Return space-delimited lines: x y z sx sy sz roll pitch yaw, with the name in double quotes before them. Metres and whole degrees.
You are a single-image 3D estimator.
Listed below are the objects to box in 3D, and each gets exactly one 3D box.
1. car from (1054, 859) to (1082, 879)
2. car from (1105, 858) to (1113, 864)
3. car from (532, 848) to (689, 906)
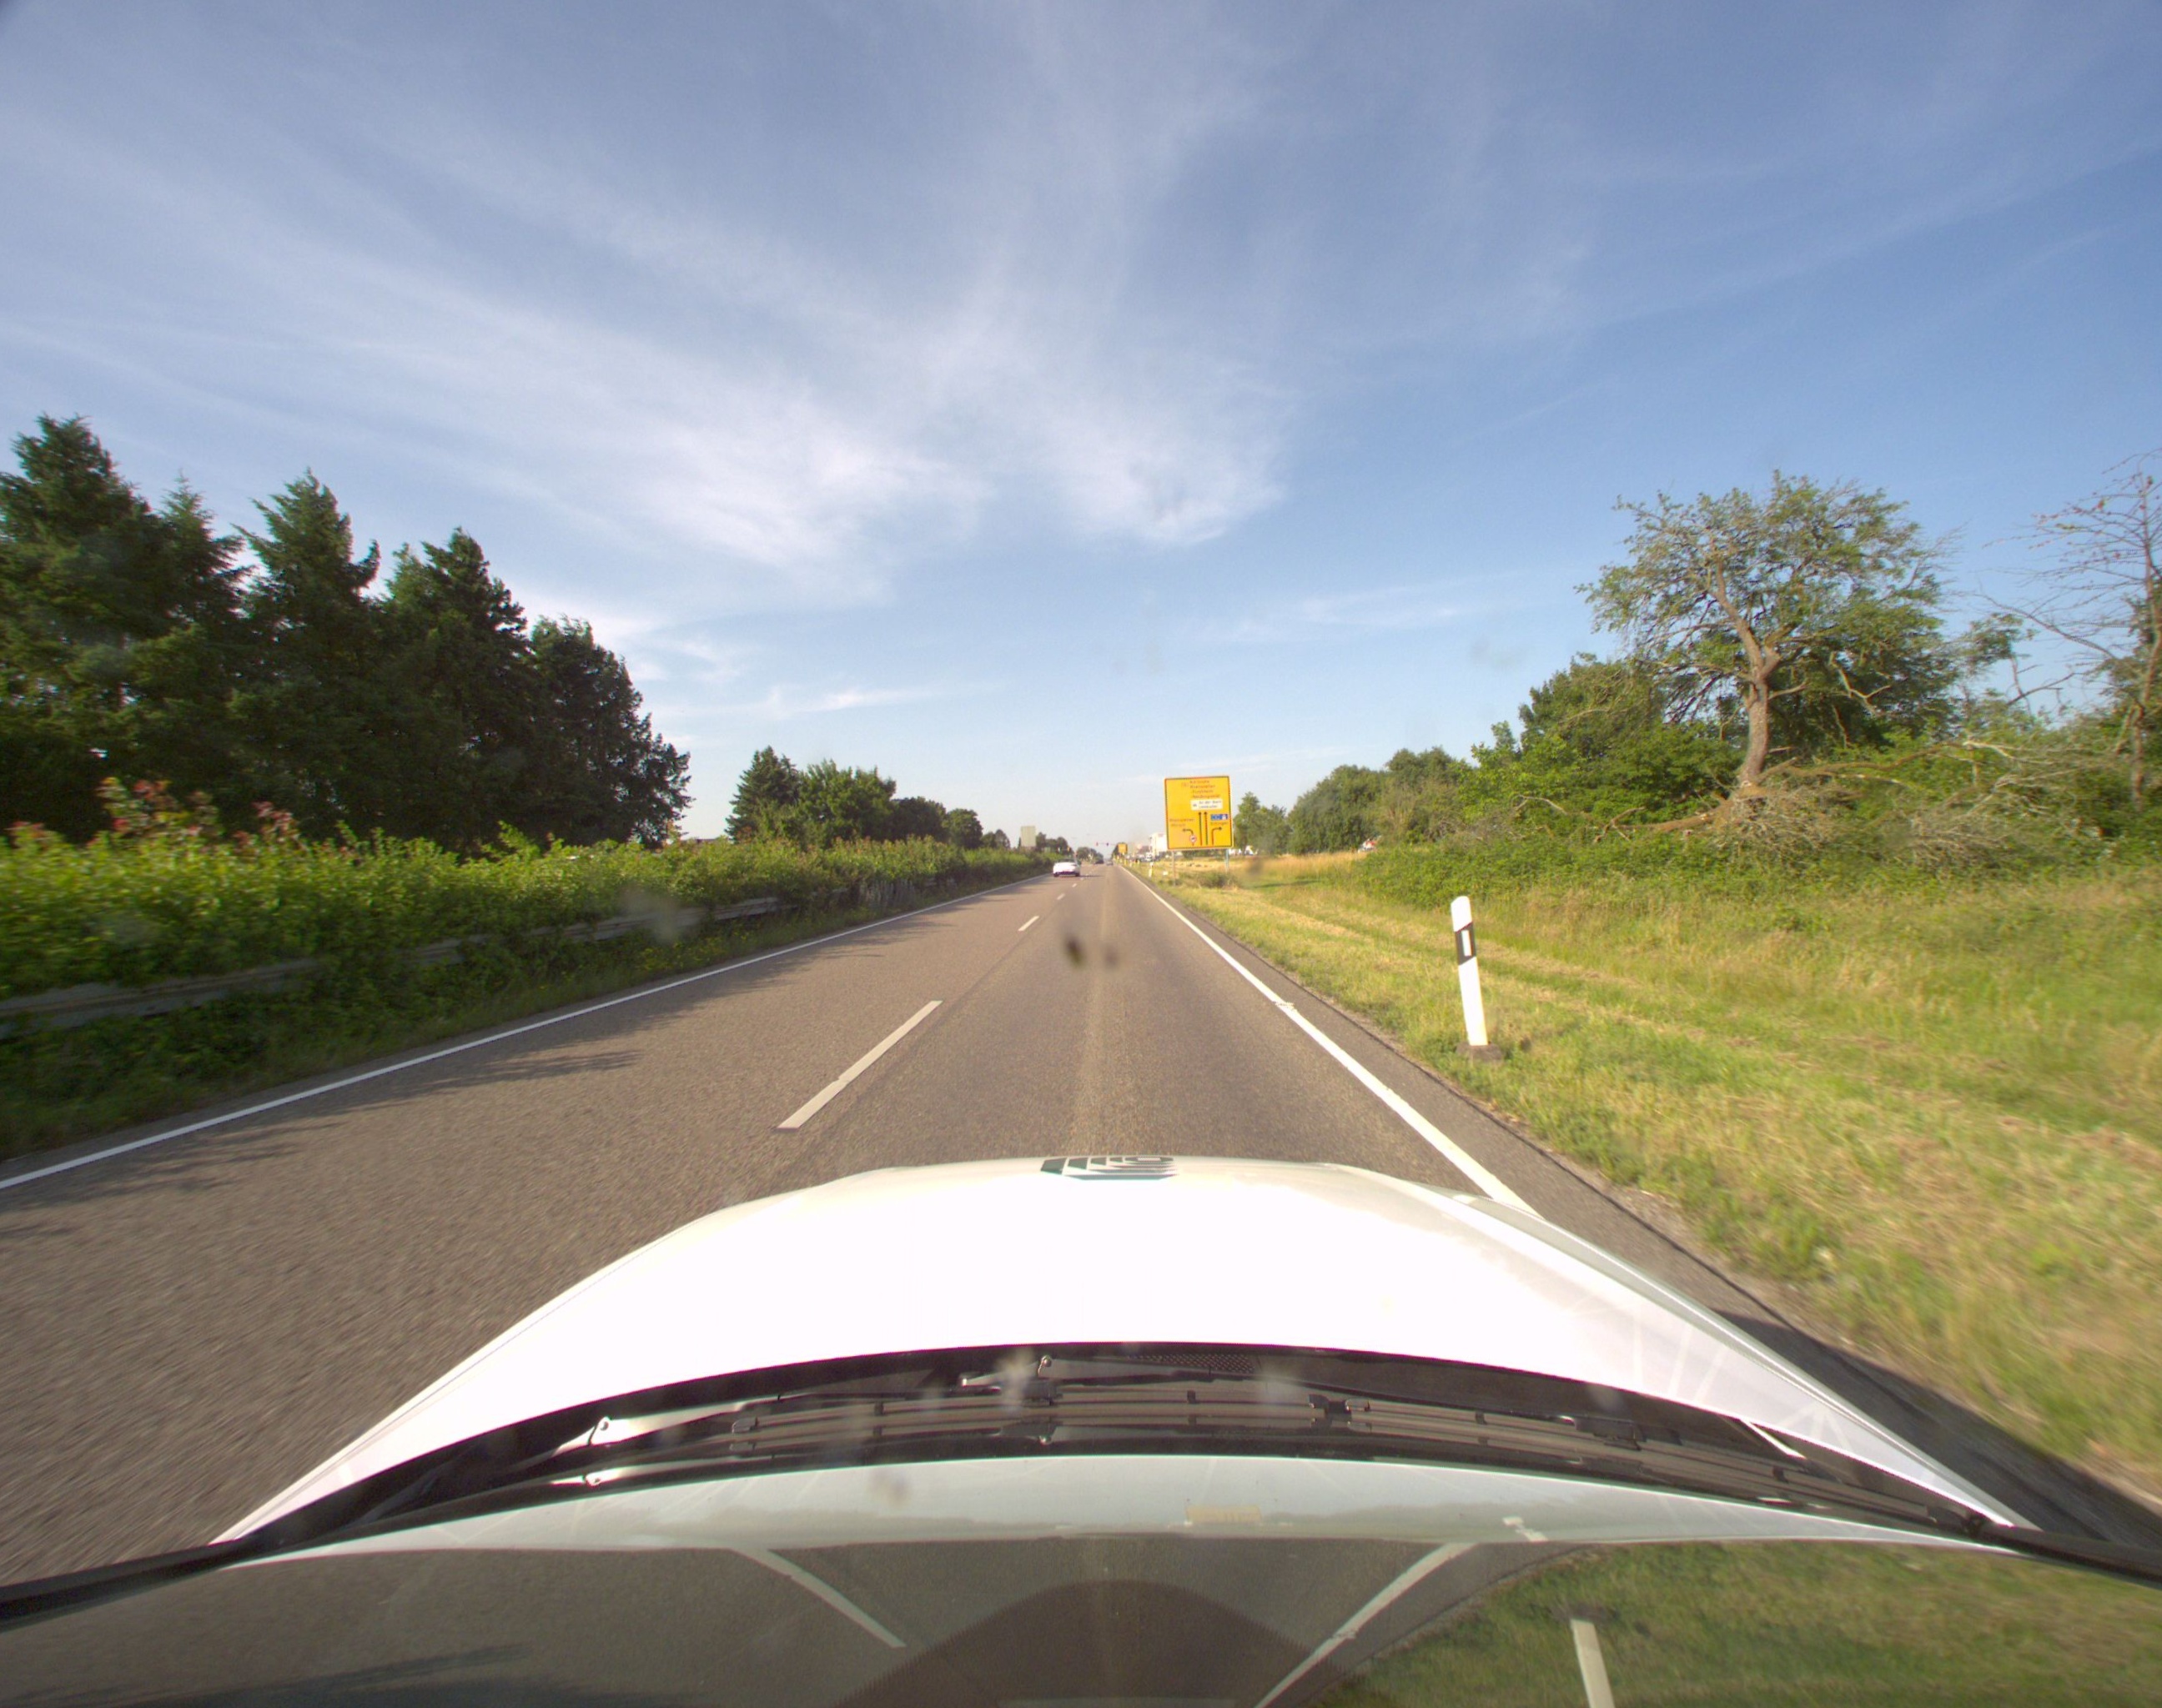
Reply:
"car" -0.970 1.107 60.763 1.903 1.422 4.001 -1 0 1
"car" 7.930 2.013 230.484 1.986 1.486 4.001 -1 0 1
"car" -12.910 0.591 22.716 1.726 1.422 4.398 -1 0 1
